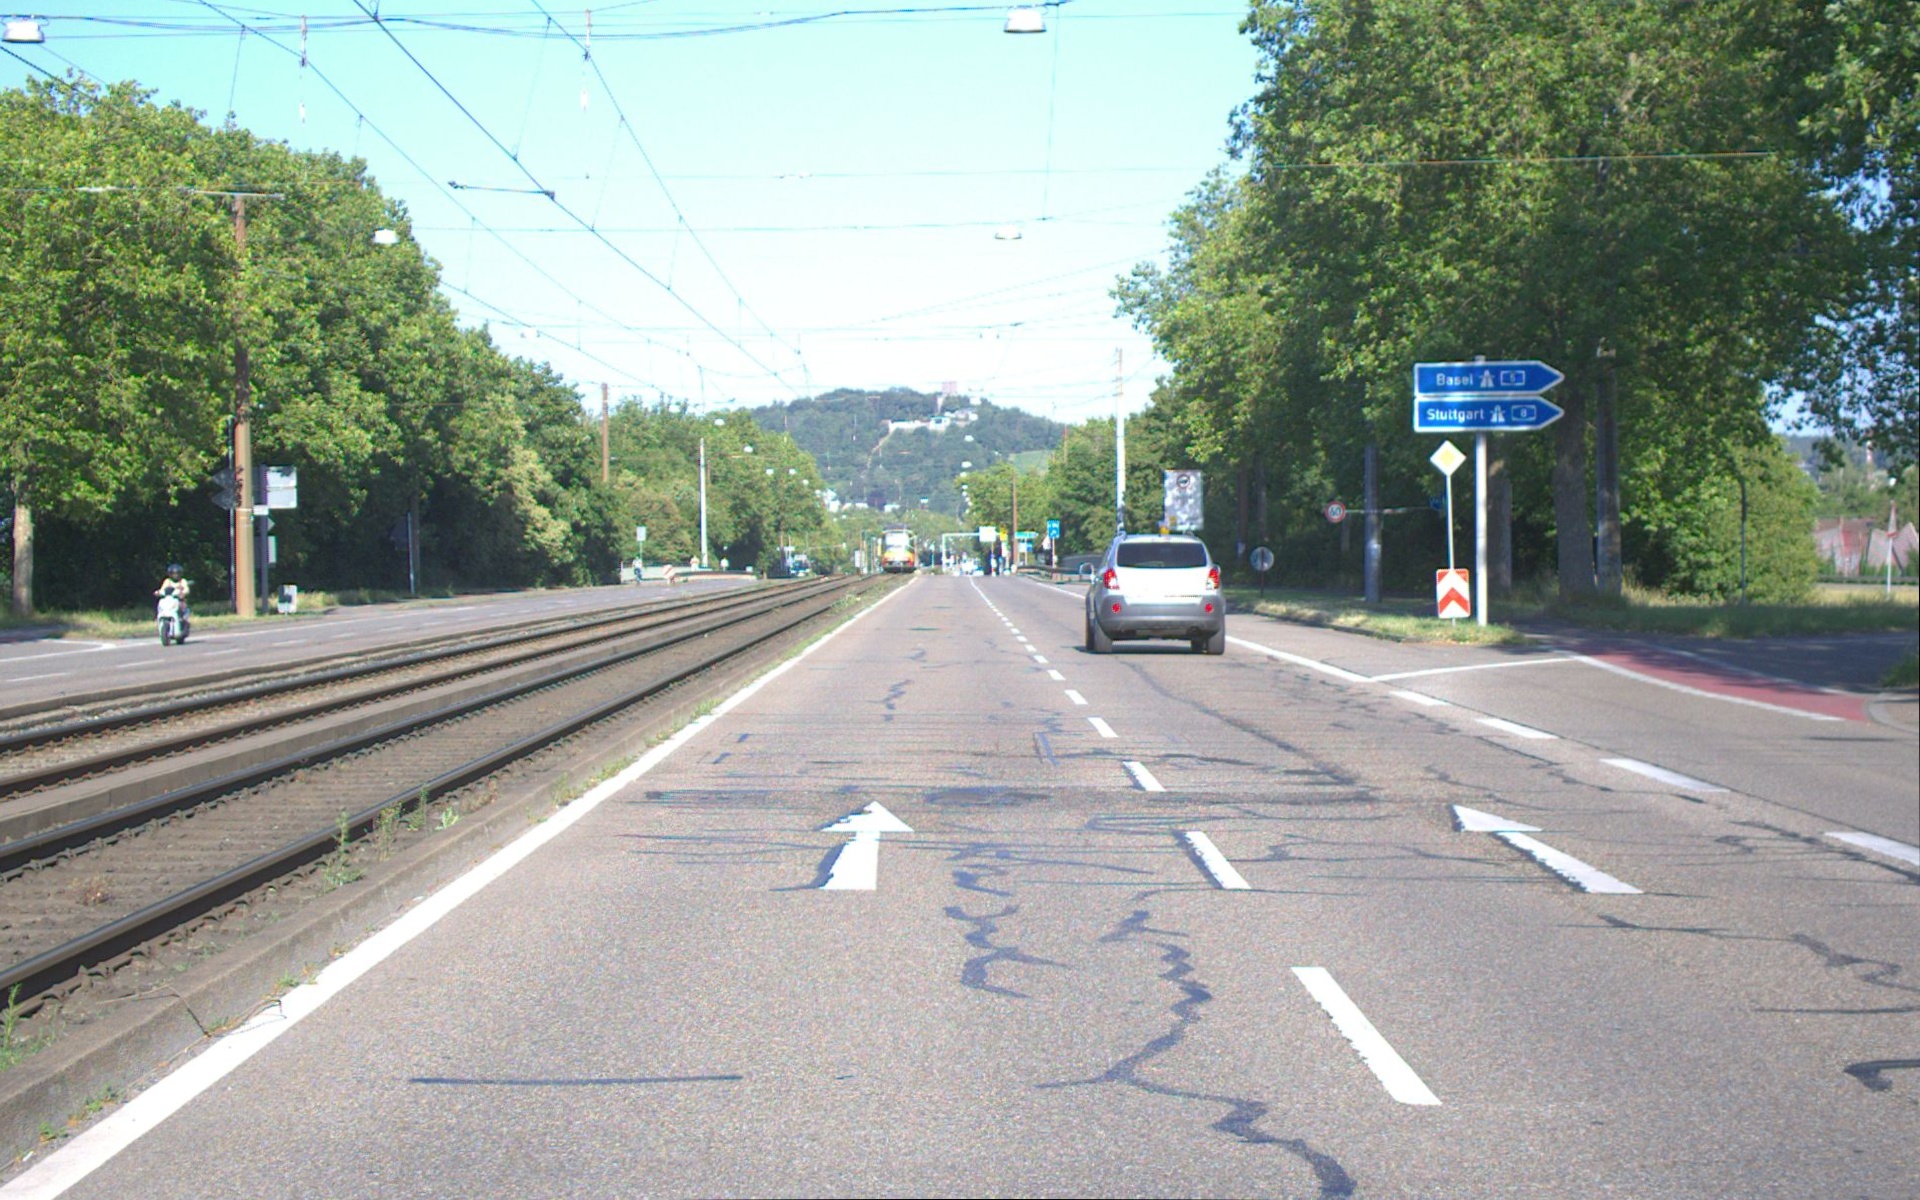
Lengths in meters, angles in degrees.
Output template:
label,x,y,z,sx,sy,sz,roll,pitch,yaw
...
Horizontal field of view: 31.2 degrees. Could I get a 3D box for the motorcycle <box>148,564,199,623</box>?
label,x,y,z,sx,sy,sz,roll,pitch,yaw
motorcycle,-14.971,-0.134,65.460,0.535,1.087,1.902,1,1,0

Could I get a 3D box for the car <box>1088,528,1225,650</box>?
label,x,y,z,sx,sy,sz,roll,pitch,yaw
car,2.804,-0.180,49.698,1.888,1.688,4.256,0,1,2

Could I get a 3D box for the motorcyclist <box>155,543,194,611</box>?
label,x,y,z,sx,sy,sz,roll,pitch,yaw
motorcyclist,-14.965,-0.444,65.476,0.535,1.266,0.805,1,1,0
